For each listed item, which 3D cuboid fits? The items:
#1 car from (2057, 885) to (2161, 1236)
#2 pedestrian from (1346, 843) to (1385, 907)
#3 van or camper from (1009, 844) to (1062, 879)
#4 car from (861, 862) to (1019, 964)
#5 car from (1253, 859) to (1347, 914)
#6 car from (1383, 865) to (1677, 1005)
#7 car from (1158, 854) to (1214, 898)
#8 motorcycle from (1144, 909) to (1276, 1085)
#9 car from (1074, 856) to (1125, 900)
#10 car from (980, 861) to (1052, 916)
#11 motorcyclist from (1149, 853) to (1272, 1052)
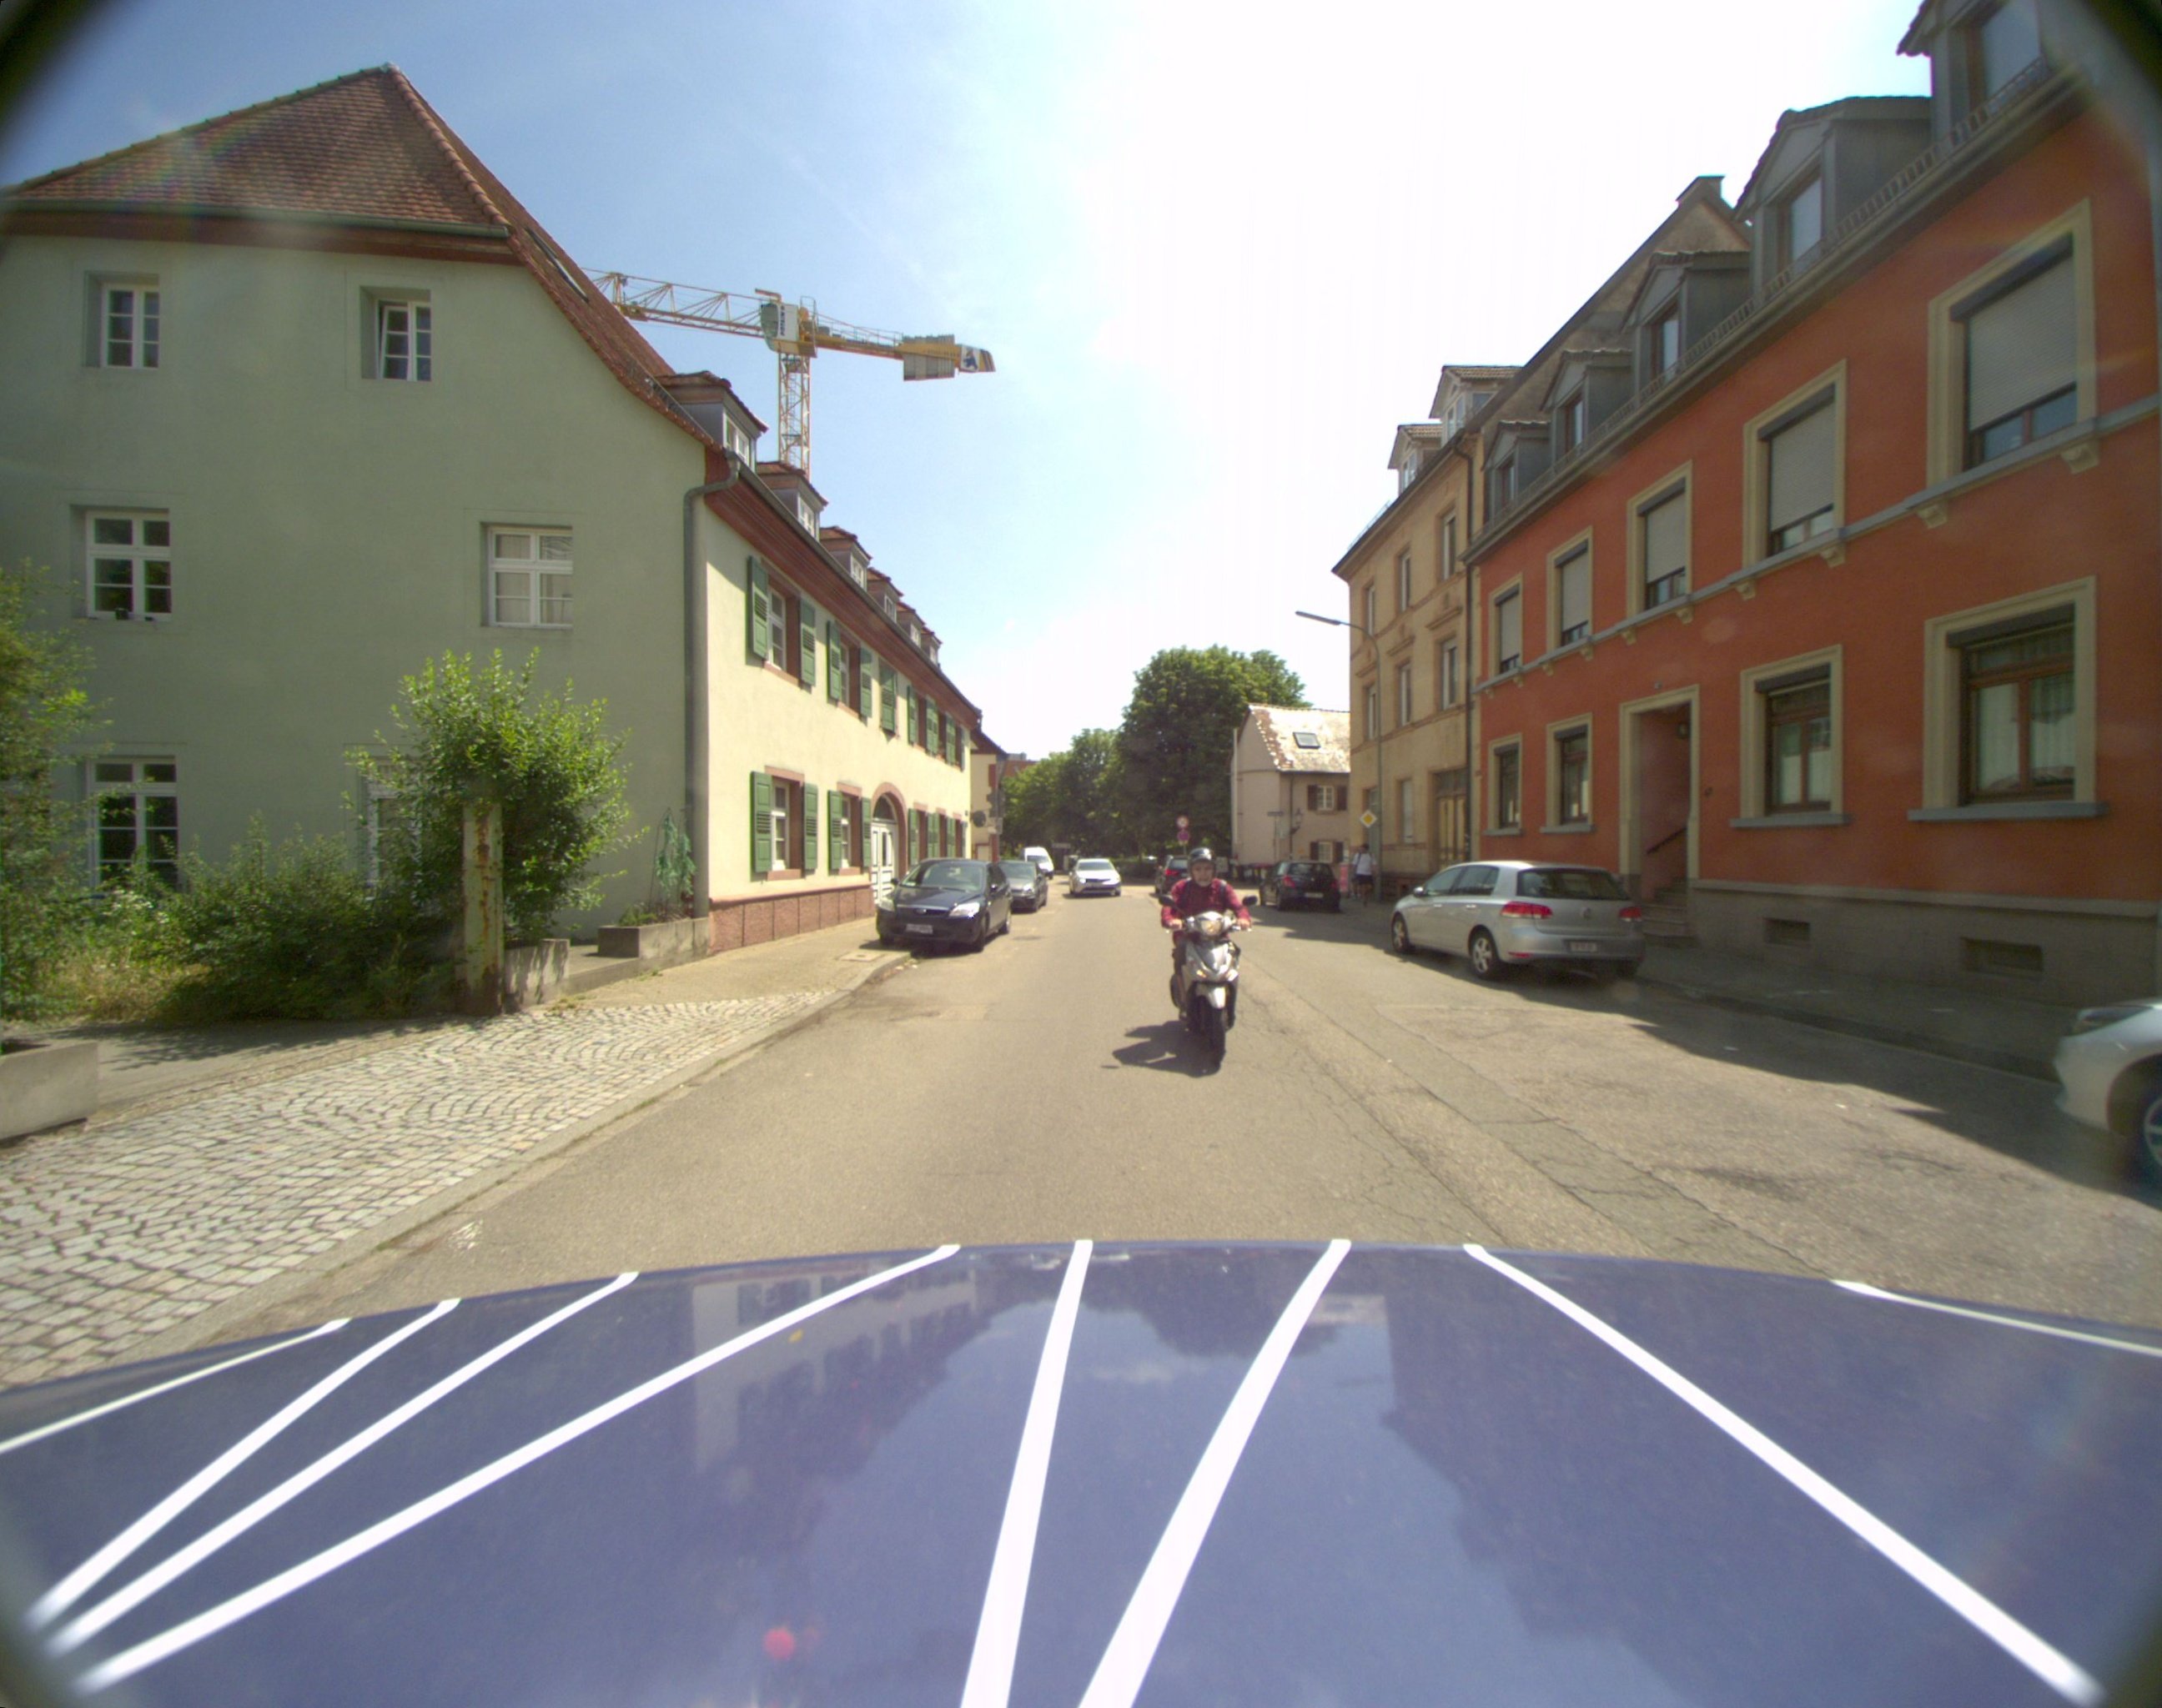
[{"bbox_3d":[5.562,0.904,1.424,1.882,1.501,4.381,0,0,1],"label":"car"},{"bbox_3d":[8.108,0.586,21.670,0.770,1.761,0.763,-2,1,1],"label":"pedestrian"},{"bbox_3d":[-3.229,0.492,52.945,2.002,2.274,5.134,0,0,-24],"label":"van or camper"},{"bbox_3d":[-2.335,0.926,13.715,1.851,1.506,4.001,0,0,4],"label":"car"},{"bbox_3d":[6.395,0.899,22.643,1.732,1.433,3.857,0,0,1],"label":"car"},{"bbox_3d":[5.711,0.920,10.295,1.714,1.451,3.853,1,0,1],"label":"car"},{"bbox_3d":[3.920,0.789,28.921,1.791,1.516,4.064,0,0,3],"label":"car"},{"bbox_3d":[0.976,1.065,6.254,0.760,1.049,1.992,-1,0,1],"label":"motorcycle"},{"bbox_3d":[0.707,0.883,29.420,1.812,1.512,4.000,-1,0,1],"label":"car"},{"bbox_3d":[-1.873,0.974,23.024,1.651,1.489,4.000,0,0,3],"label":"car"},{"bbox_3d":[0.987,0.715,6.030,0.793,1.431,1.020,-1,1,1],"label":"motorcyclist"}]
